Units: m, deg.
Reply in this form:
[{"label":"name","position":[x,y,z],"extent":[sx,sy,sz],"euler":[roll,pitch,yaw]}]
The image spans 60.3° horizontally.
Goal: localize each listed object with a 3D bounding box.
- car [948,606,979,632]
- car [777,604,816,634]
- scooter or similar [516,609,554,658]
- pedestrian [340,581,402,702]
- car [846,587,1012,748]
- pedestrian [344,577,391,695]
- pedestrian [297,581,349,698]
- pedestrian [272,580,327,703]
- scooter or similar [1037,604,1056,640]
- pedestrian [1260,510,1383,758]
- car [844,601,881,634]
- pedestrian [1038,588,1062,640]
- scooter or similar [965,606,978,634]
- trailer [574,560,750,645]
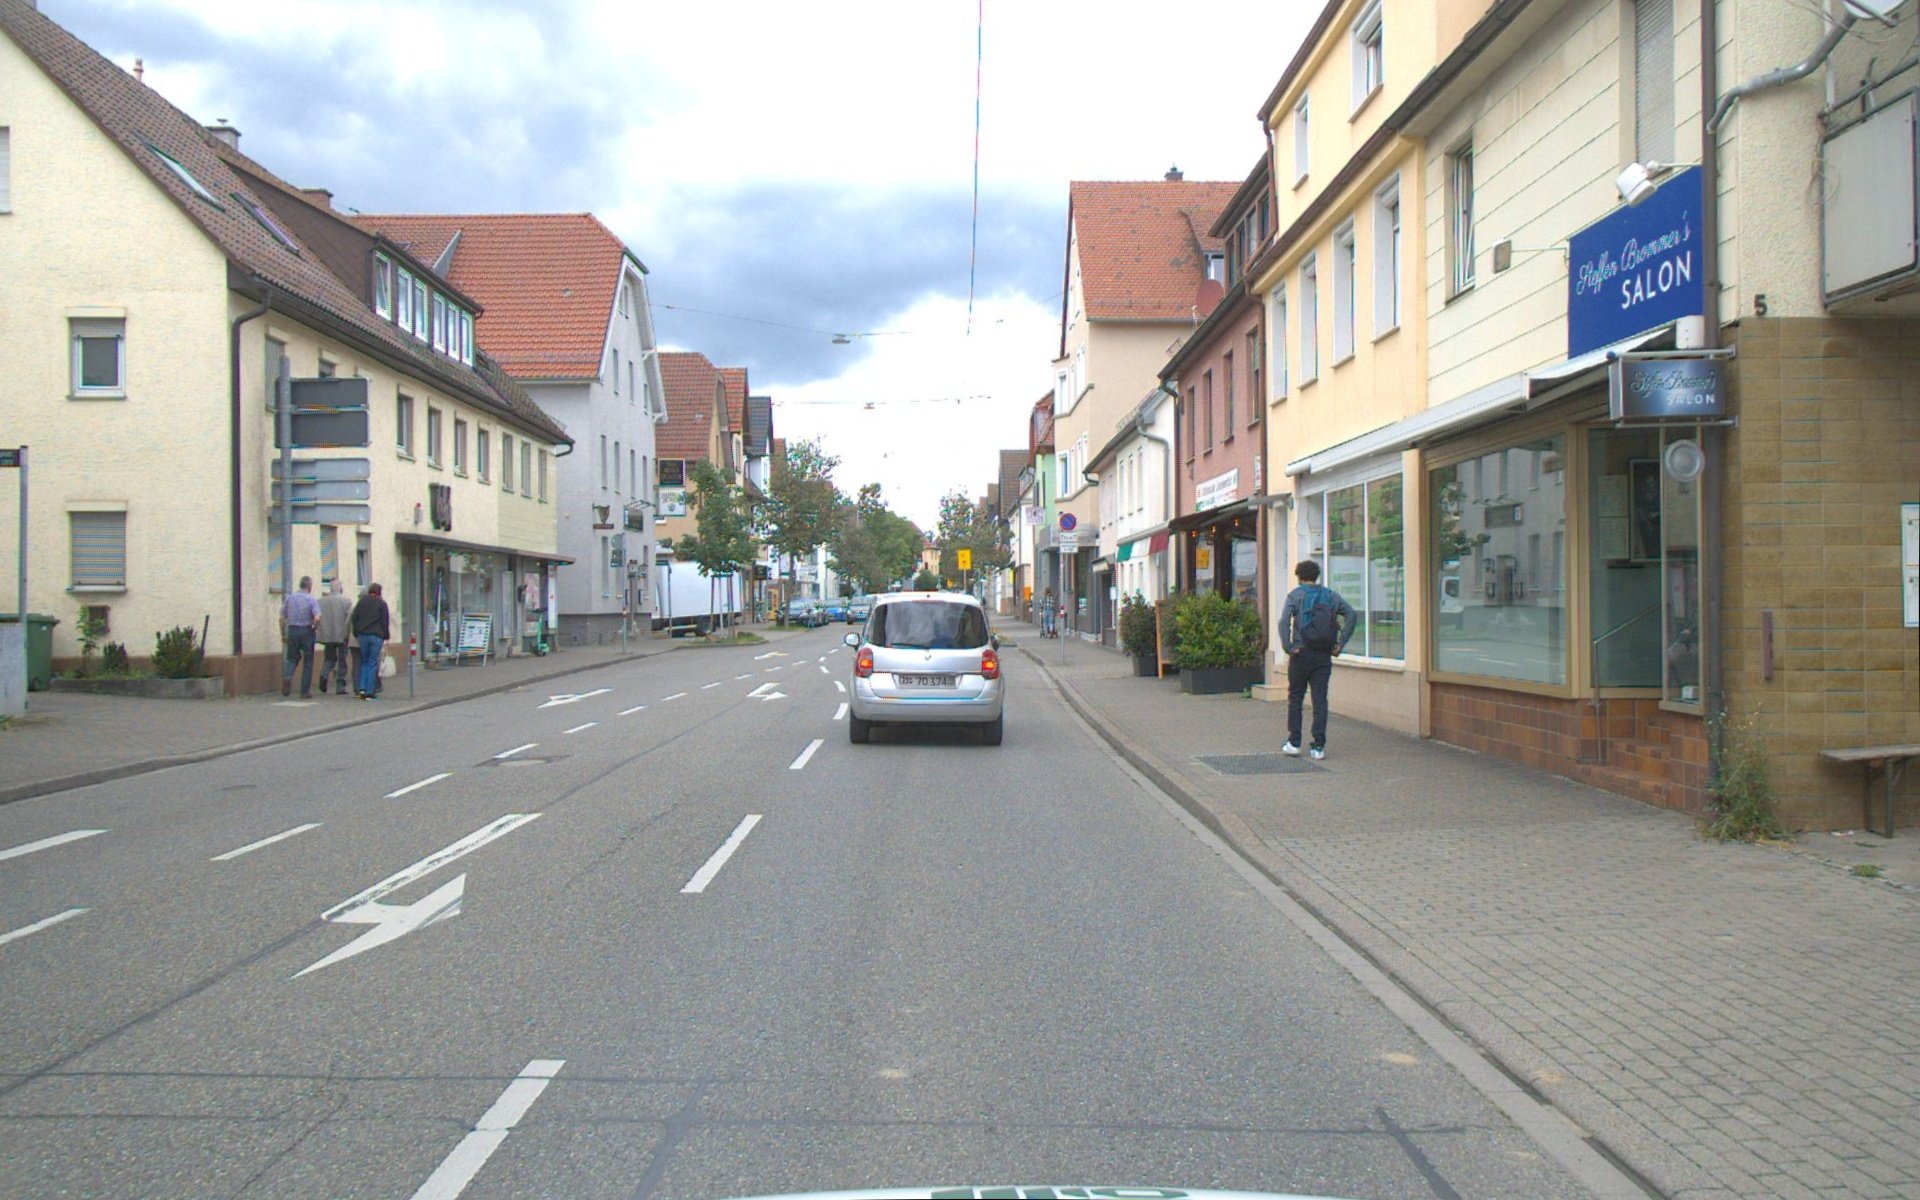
[{"label":"car","position":[0.195,1.102,97.846],"extent":[1.793,1.471,4.331],"euler":[1,0,0]},{"label":"car","position":[-8.329,0.970,84.519],"extent":[1.648,1.449,3.930],"euler":[-1,0,-1]},{"label":"scooter or similar","position":[-10.713,0.834,41.714],"extent":[0.517,1.190,1.721],"euler":[1,0,-1]},{"label":"pedestrian","position":[-8.733,0.612,24.546],"extent":[0.664,1.767,0.717],"euler":[0,0,-1]},{"label":"car","position":[-0.306,0.695,18.747],"extent":[1.648,1.593,3.993],"euler":[1,0,0]},{"label":"pedestrian","position":[-9.041,0.539,25.249],"extent":[0.486,1.767,0.648],"euler":[0,0,-1]},{"label":"pedestrian","position":[-9.769,0.597,25.370],"extent":[0.542,1.767,0.648],"euler":[0,0,-1]},{"label":"pedestrian","position":[-9.633,0.595,24.134],"extent":[0.542,1.767,0.648],"euler":[0,0,-1]},{"label":"scooter or similar","position":[3.039,0.771,58.254],"extent":[0.577,1.254,0.891],"euler":[1,0,-1]},{"label":"pedestrian","position":[3.224,0.298,14.836],"extent":[0.807,2.110,1.011],"euler":[-3,-1,2]},{"label":"car","position":[-5.699,1.007,96.704],"extent":[1.953,1.827,4.276],"euler":[-1,0,-1]},{"label":"pedestrian","position":[3.115,0.483,57.302],"extent":[0.735,1.750,0.900],"euler":[1,-1,-1]},{"label":"scooter or similar","position":[0.527,0.884,75.156],"extent":[0.492,1.257,1.942],"euler":[1,0,-1]},{"label":"trailer","position":[-12.028,0.118,67.328],"extent":[2.465,3.276,7.096],"euler":[1,-1,40]}]
